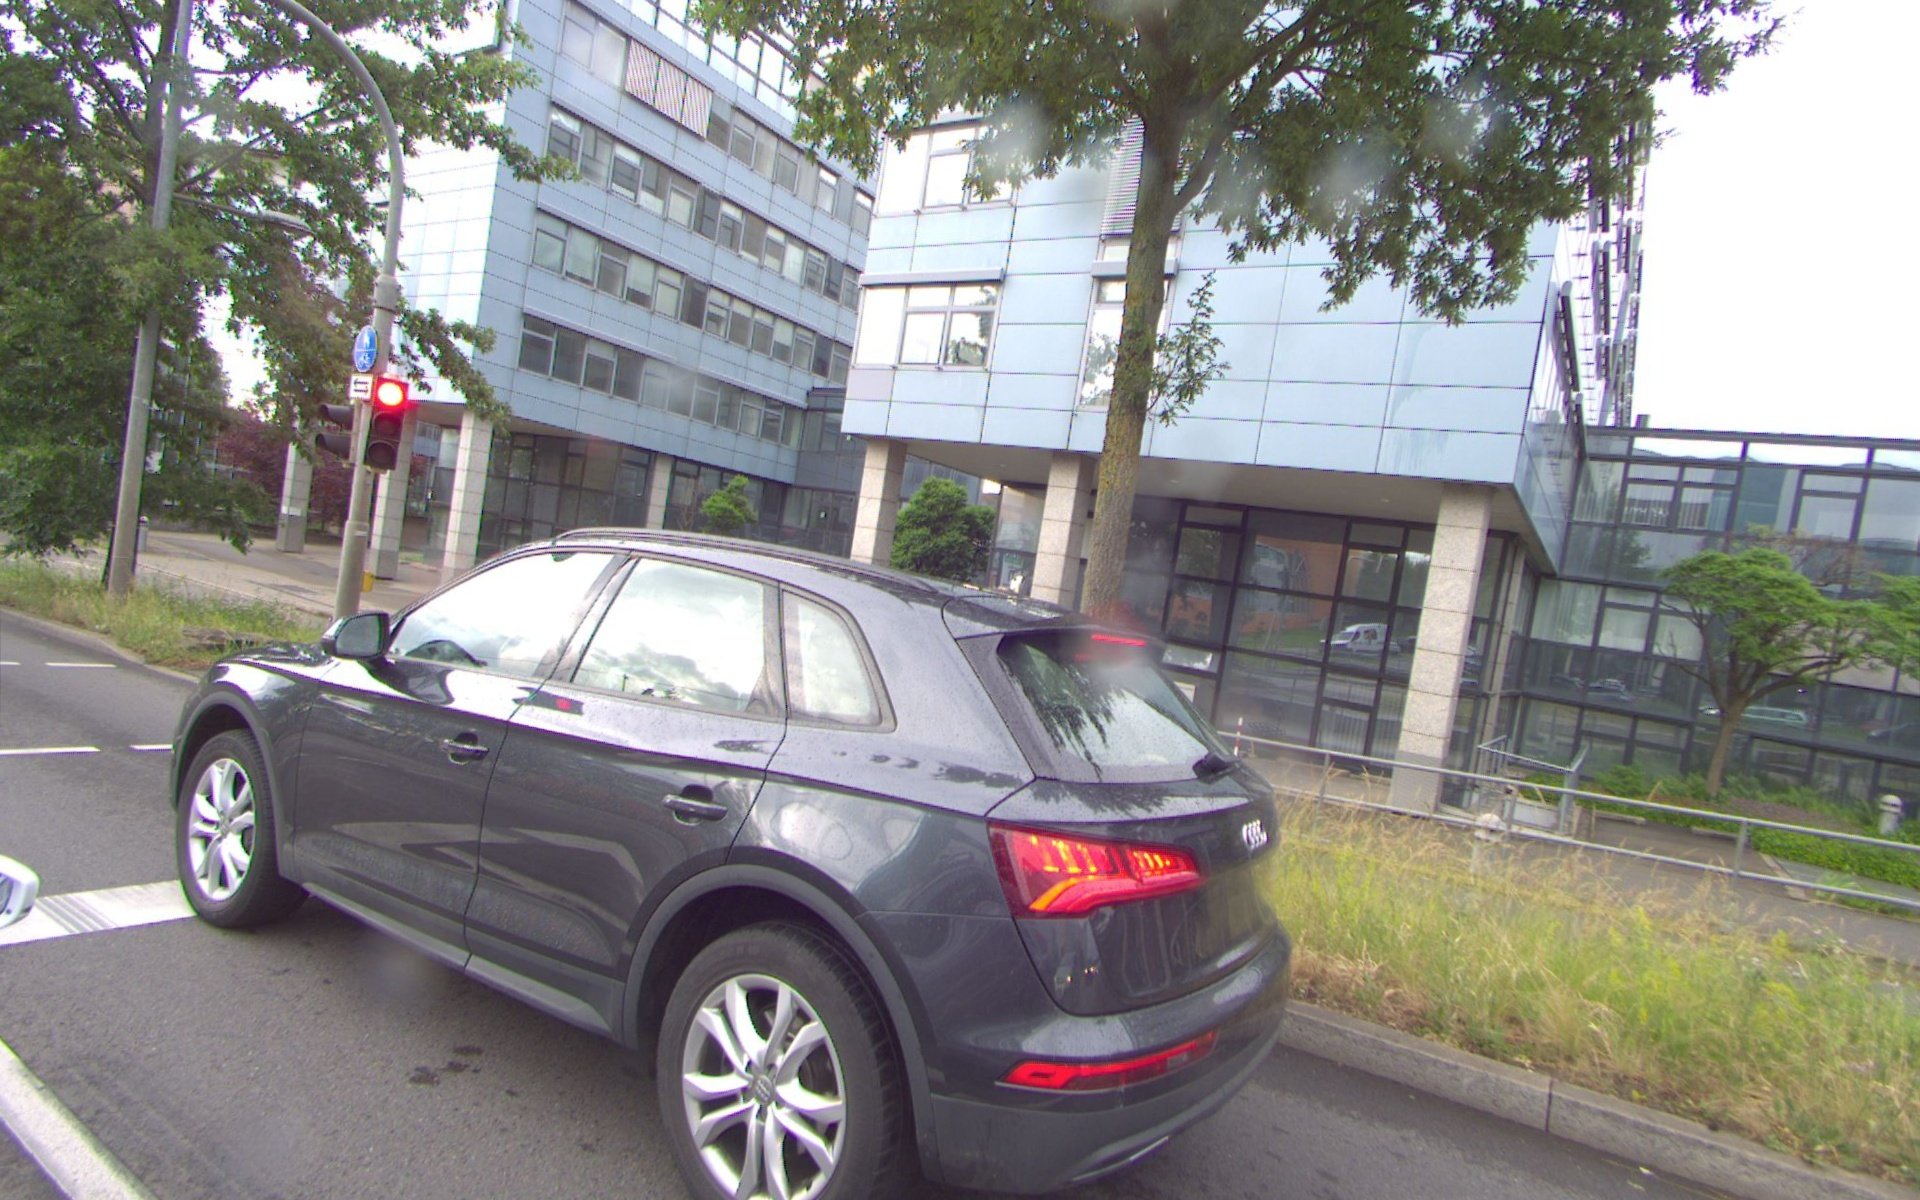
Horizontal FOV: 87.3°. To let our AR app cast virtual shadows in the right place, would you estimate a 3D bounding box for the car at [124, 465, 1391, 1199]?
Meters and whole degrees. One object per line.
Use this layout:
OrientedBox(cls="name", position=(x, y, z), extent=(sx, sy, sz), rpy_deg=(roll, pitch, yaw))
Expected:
OrientedBox(cls="car", position=(-0.986, 0.567, 3.725), extent=(4.396, 1.632, 1.821), rpy_deg=(7, -1, 32))
